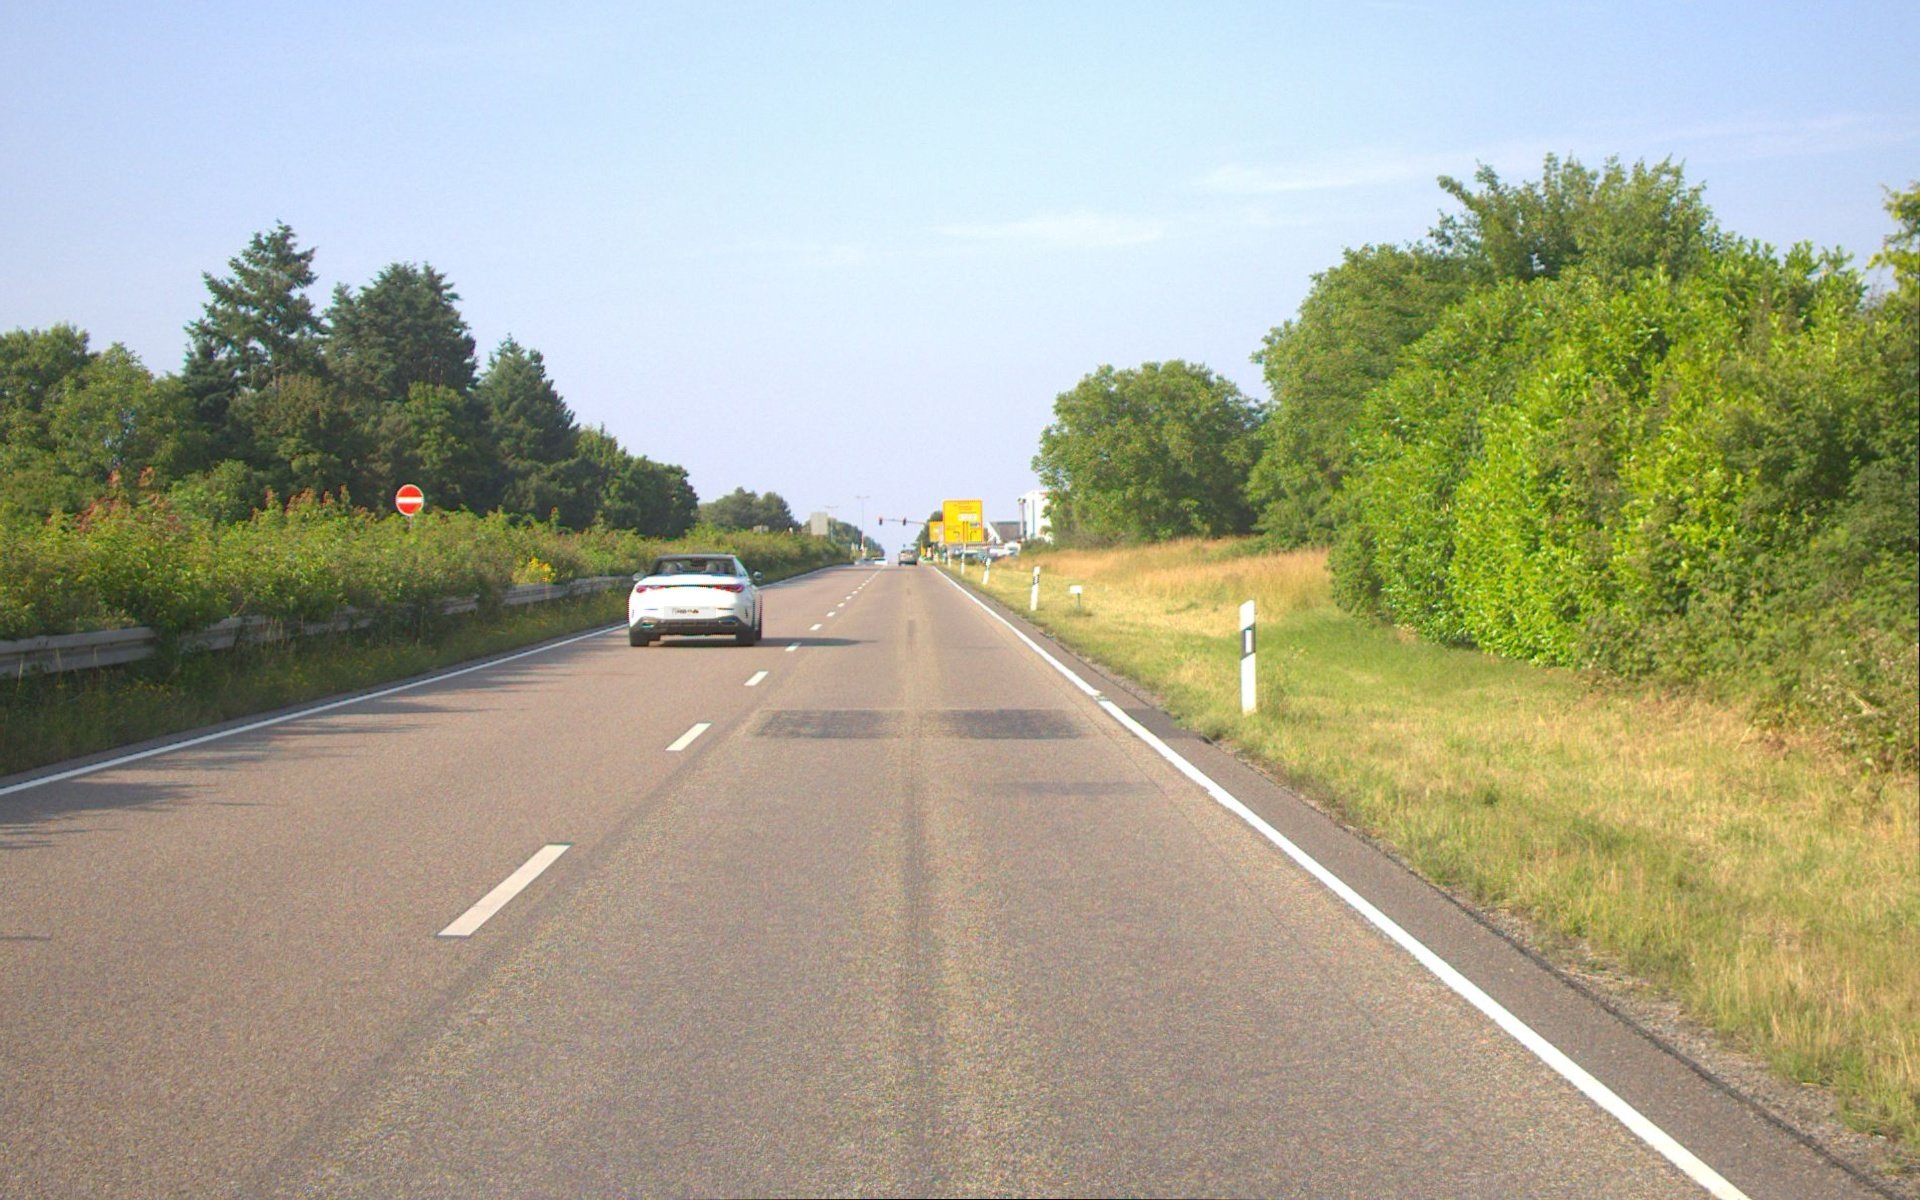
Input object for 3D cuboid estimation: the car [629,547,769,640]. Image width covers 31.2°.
[{"bbox_3d":[-3.932,-0.116,52.440,1.771,1.333,4.950,1,1,0],"label":"car"}]
